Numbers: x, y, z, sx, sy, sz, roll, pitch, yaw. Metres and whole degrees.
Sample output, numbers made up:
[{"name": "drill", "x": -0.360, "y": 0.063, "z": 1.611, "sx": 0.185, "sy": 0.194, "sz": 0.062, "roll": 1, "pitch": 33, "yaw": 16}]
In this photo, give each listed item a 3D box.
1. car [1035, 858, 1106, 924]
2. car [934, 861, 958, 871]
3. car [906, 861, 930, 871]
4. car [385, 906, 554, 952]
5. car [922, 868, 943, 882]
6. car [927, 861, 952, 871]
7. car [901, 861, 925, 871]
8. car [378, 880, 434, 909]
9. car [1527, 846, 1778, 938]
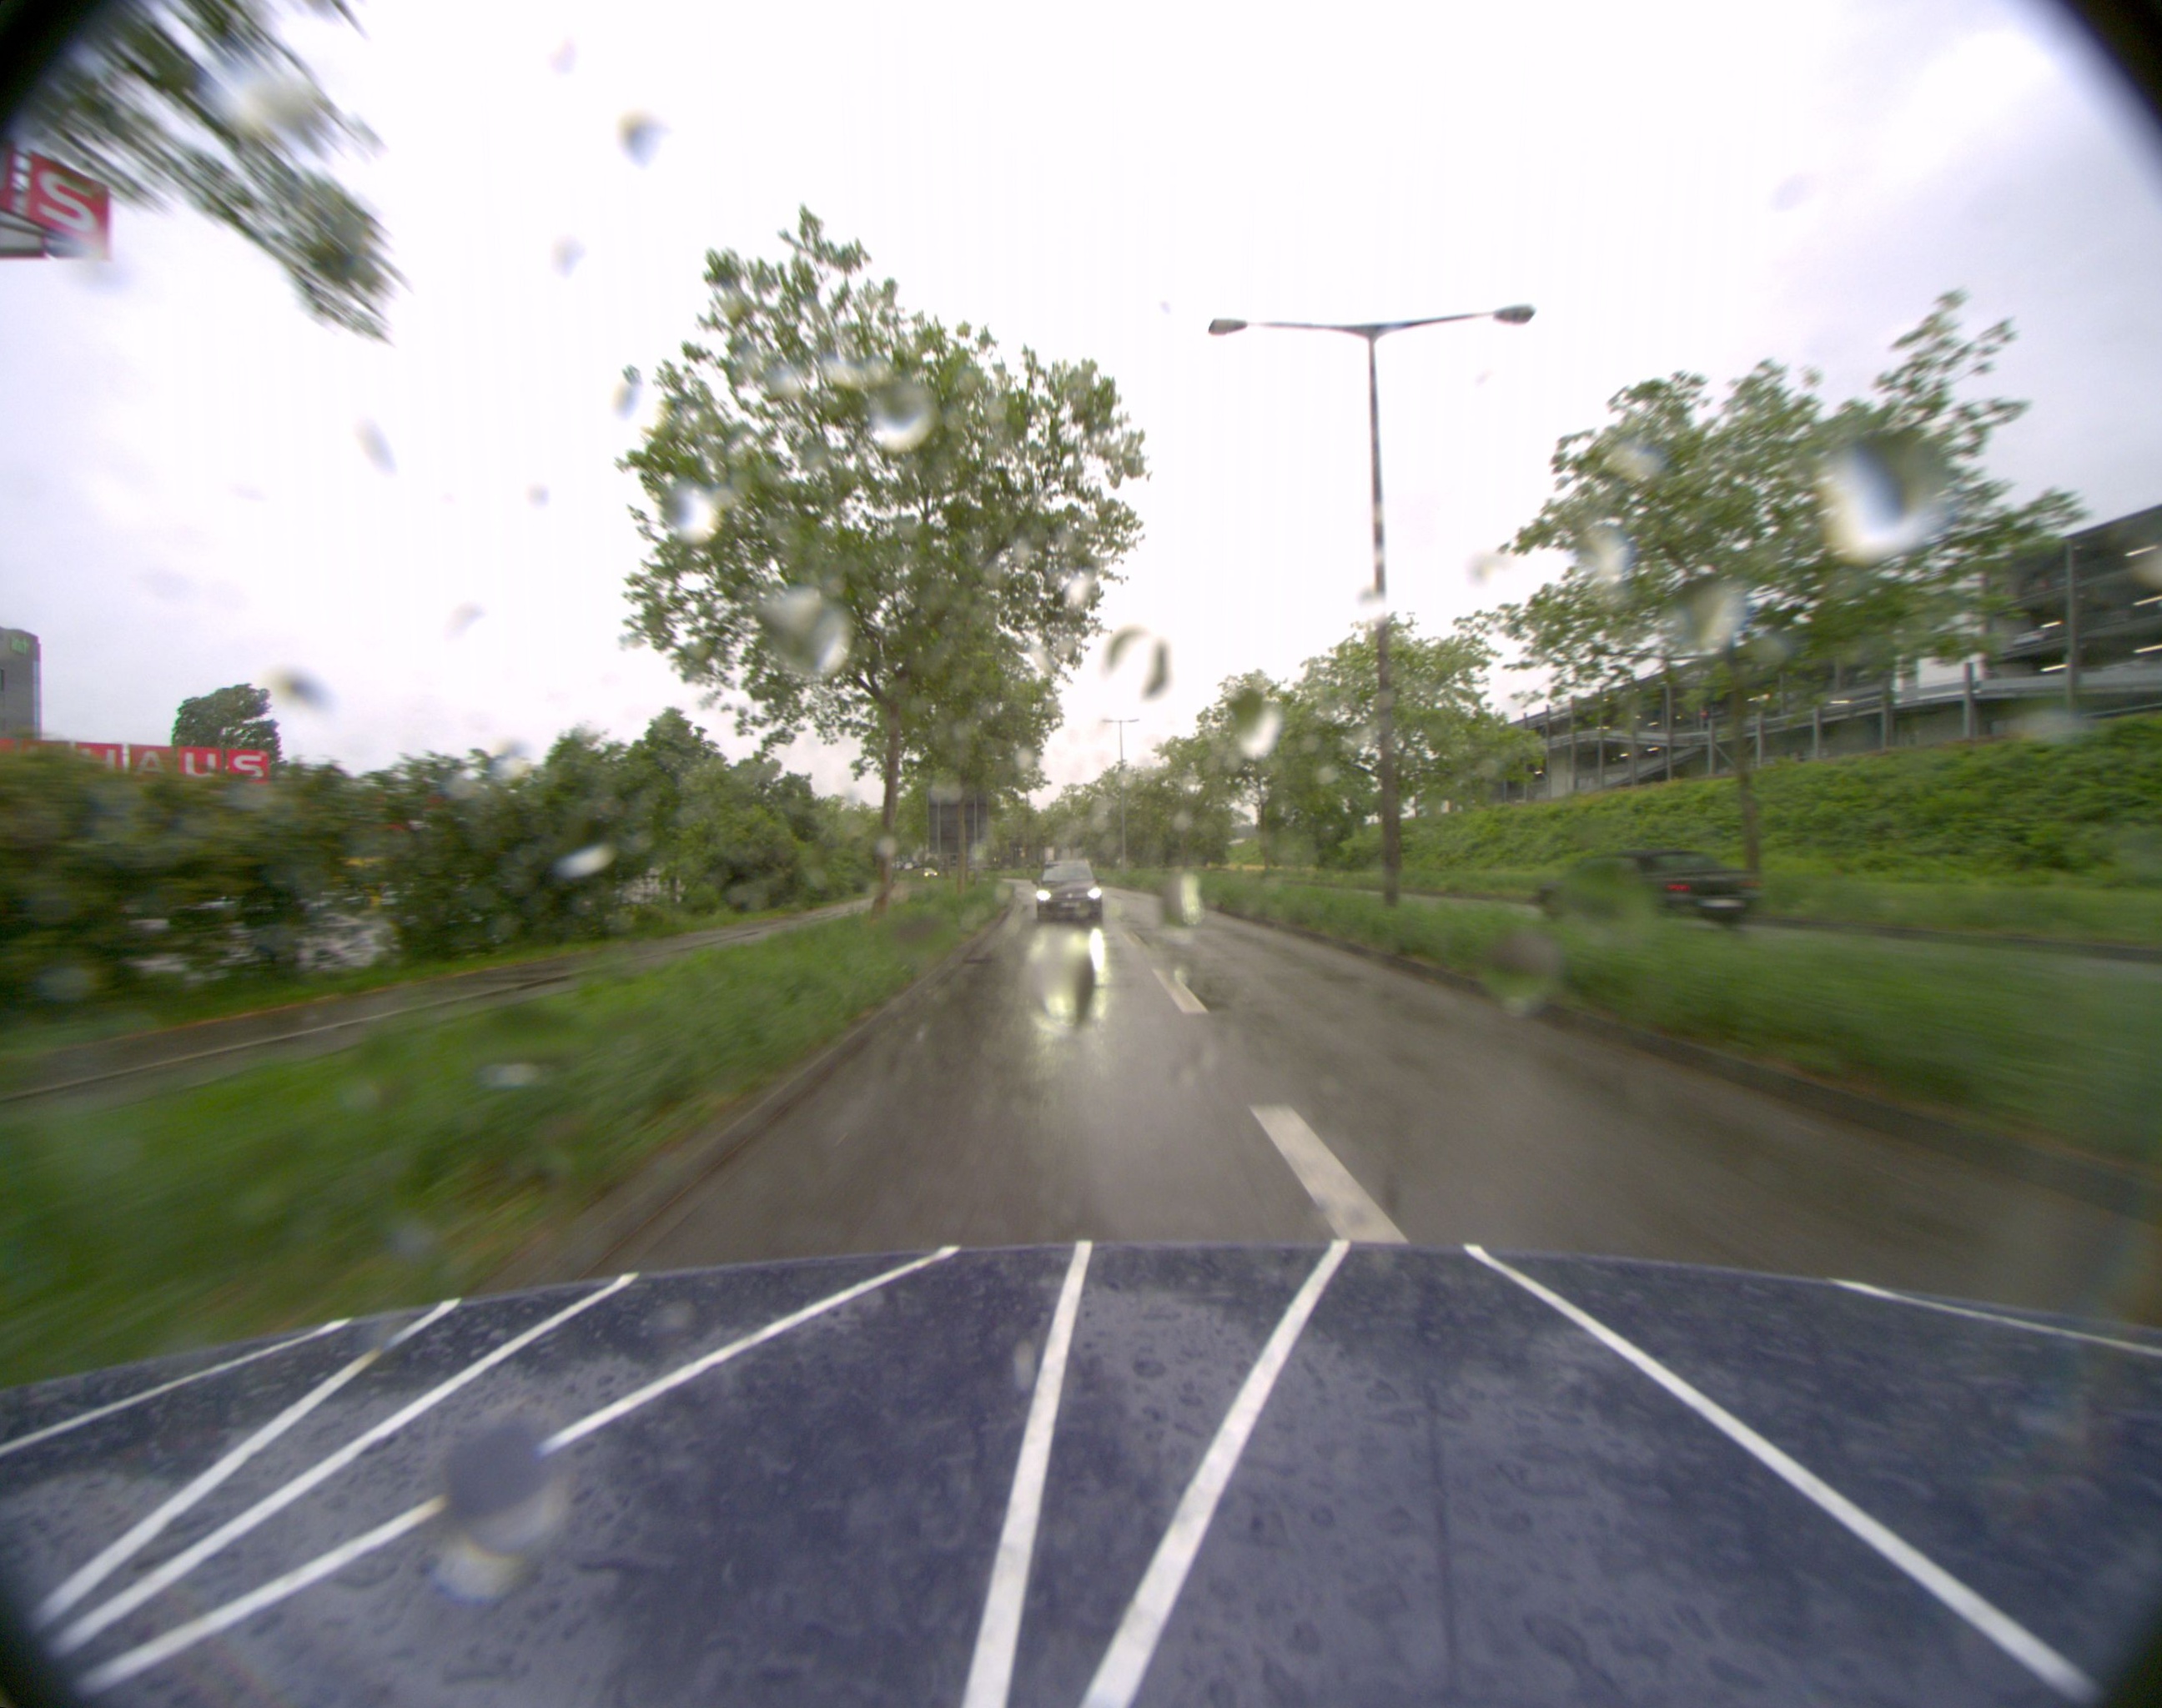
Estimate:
[{"name": "car", "x": -0.385, "y": 0.976, "z": 22.296, "sx": 1.789, "sy": 1.605, "sz": 4.715, "roll": -3, "pitch": 0, "yaw": -3}, {"name": "car", "x": -24.066, "y": 2.113, "z": 135.646, "sx": 1.860, "sy": 1.650, "sz": 4.007, "roll": -2, "pitch": 1, "yaw": 40}, {"name": "car", "x": -30.339, "y": 2.305, "z": 141.797, "sx": 1.860, "sy": 1.650, "sz": 4.007, "roll": -2, "pitch": 1, "yaw": 40}, {"name": "car", "x": -19.625, "y": 2.387, "z": 24.546, "sx": 3.846, "sy": 1.191, "sz": 1.753, "roll": -2, "pitch": 0, "yaw": -9}, {"name": "car", "x": -19.629, "y": 2.754, "z": 100.086, "sx": 2.002, "sy": 1.641, "sz": 3.993, "roll": -2, "pitch": 0, "yaw": -21}, {"name": "car", "x": -25.514, "y": 2.165, "z": 136.971, "sx": 1.860, "sy": 1.650, "sz": 4.007, "roll": -2, "pitch": 1, "yaw": 40}, {"name": "car", "x": -31.712, "y": 2.348, "z": 143.506, "sx": 1.860, "sy": 1.650, "sz": 4.007, "roll": -2, "pitch": 1, "yaw": 40}, {"name": "car", "x": -42.412, "y": 2.494, "z": 47.833, "sx": 1.757, "sy": 1.624, "sz": 3.838, "roll": -2, "pitch": 0, "yaw": -28}, {"name": "car", "x": 10.371, "y": 0.627, "z": 14.218, "sx": 1.635, "sy": 1.417, "sz": 4.000, "roll": -2, "pitch": 0, "yaw": 0}]
